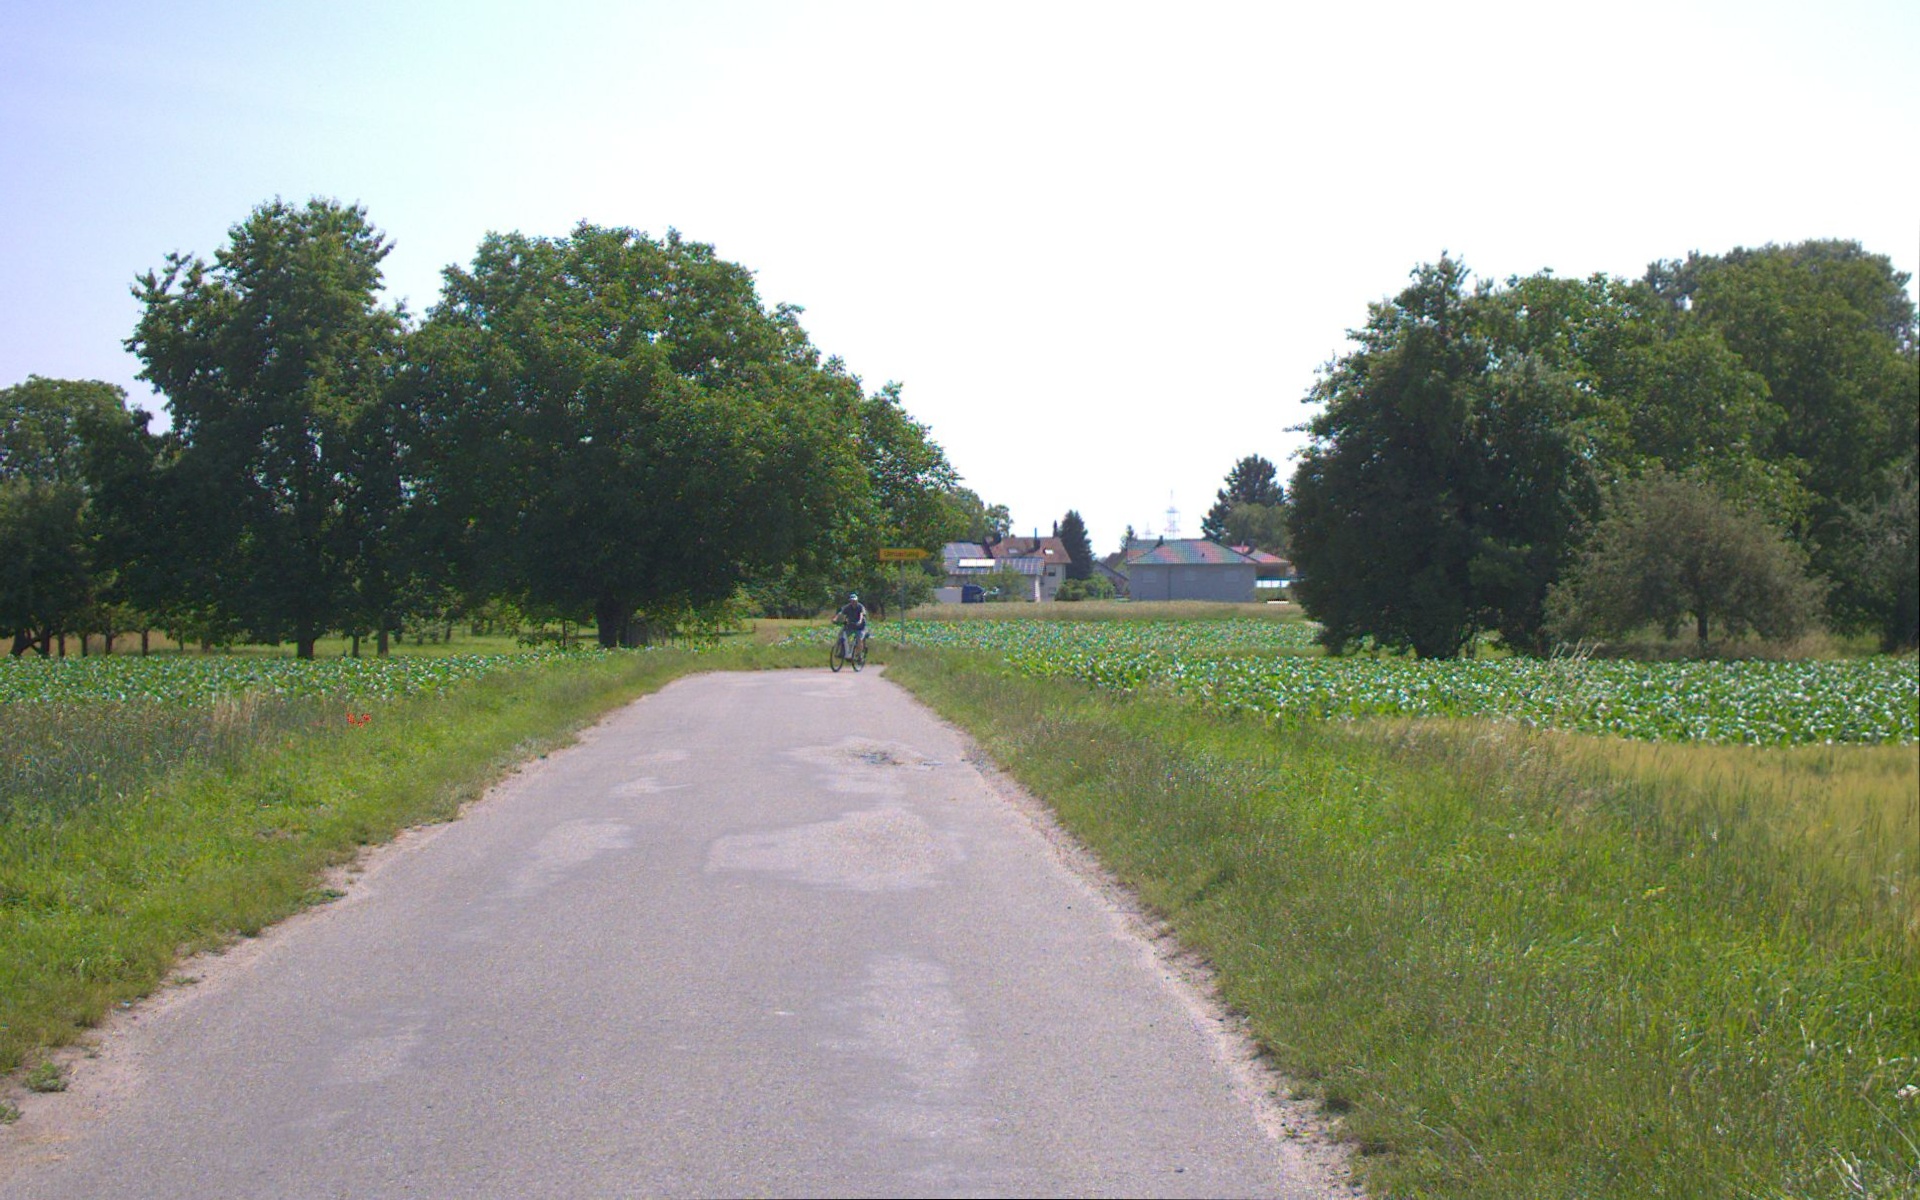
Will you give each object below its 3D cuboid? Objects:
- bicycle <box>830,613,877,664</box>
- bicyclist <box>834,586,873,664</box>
[{"bbox_3d":[-2.484,0.898,80.303,0.751,1.124,1.908,-2,0,8],"label":"bicycle"},{"bbox_3d":[-2.491,0.577,80.308,0.751,1.785,0.716,-2,0,8],"label":"bicyclist"}]
